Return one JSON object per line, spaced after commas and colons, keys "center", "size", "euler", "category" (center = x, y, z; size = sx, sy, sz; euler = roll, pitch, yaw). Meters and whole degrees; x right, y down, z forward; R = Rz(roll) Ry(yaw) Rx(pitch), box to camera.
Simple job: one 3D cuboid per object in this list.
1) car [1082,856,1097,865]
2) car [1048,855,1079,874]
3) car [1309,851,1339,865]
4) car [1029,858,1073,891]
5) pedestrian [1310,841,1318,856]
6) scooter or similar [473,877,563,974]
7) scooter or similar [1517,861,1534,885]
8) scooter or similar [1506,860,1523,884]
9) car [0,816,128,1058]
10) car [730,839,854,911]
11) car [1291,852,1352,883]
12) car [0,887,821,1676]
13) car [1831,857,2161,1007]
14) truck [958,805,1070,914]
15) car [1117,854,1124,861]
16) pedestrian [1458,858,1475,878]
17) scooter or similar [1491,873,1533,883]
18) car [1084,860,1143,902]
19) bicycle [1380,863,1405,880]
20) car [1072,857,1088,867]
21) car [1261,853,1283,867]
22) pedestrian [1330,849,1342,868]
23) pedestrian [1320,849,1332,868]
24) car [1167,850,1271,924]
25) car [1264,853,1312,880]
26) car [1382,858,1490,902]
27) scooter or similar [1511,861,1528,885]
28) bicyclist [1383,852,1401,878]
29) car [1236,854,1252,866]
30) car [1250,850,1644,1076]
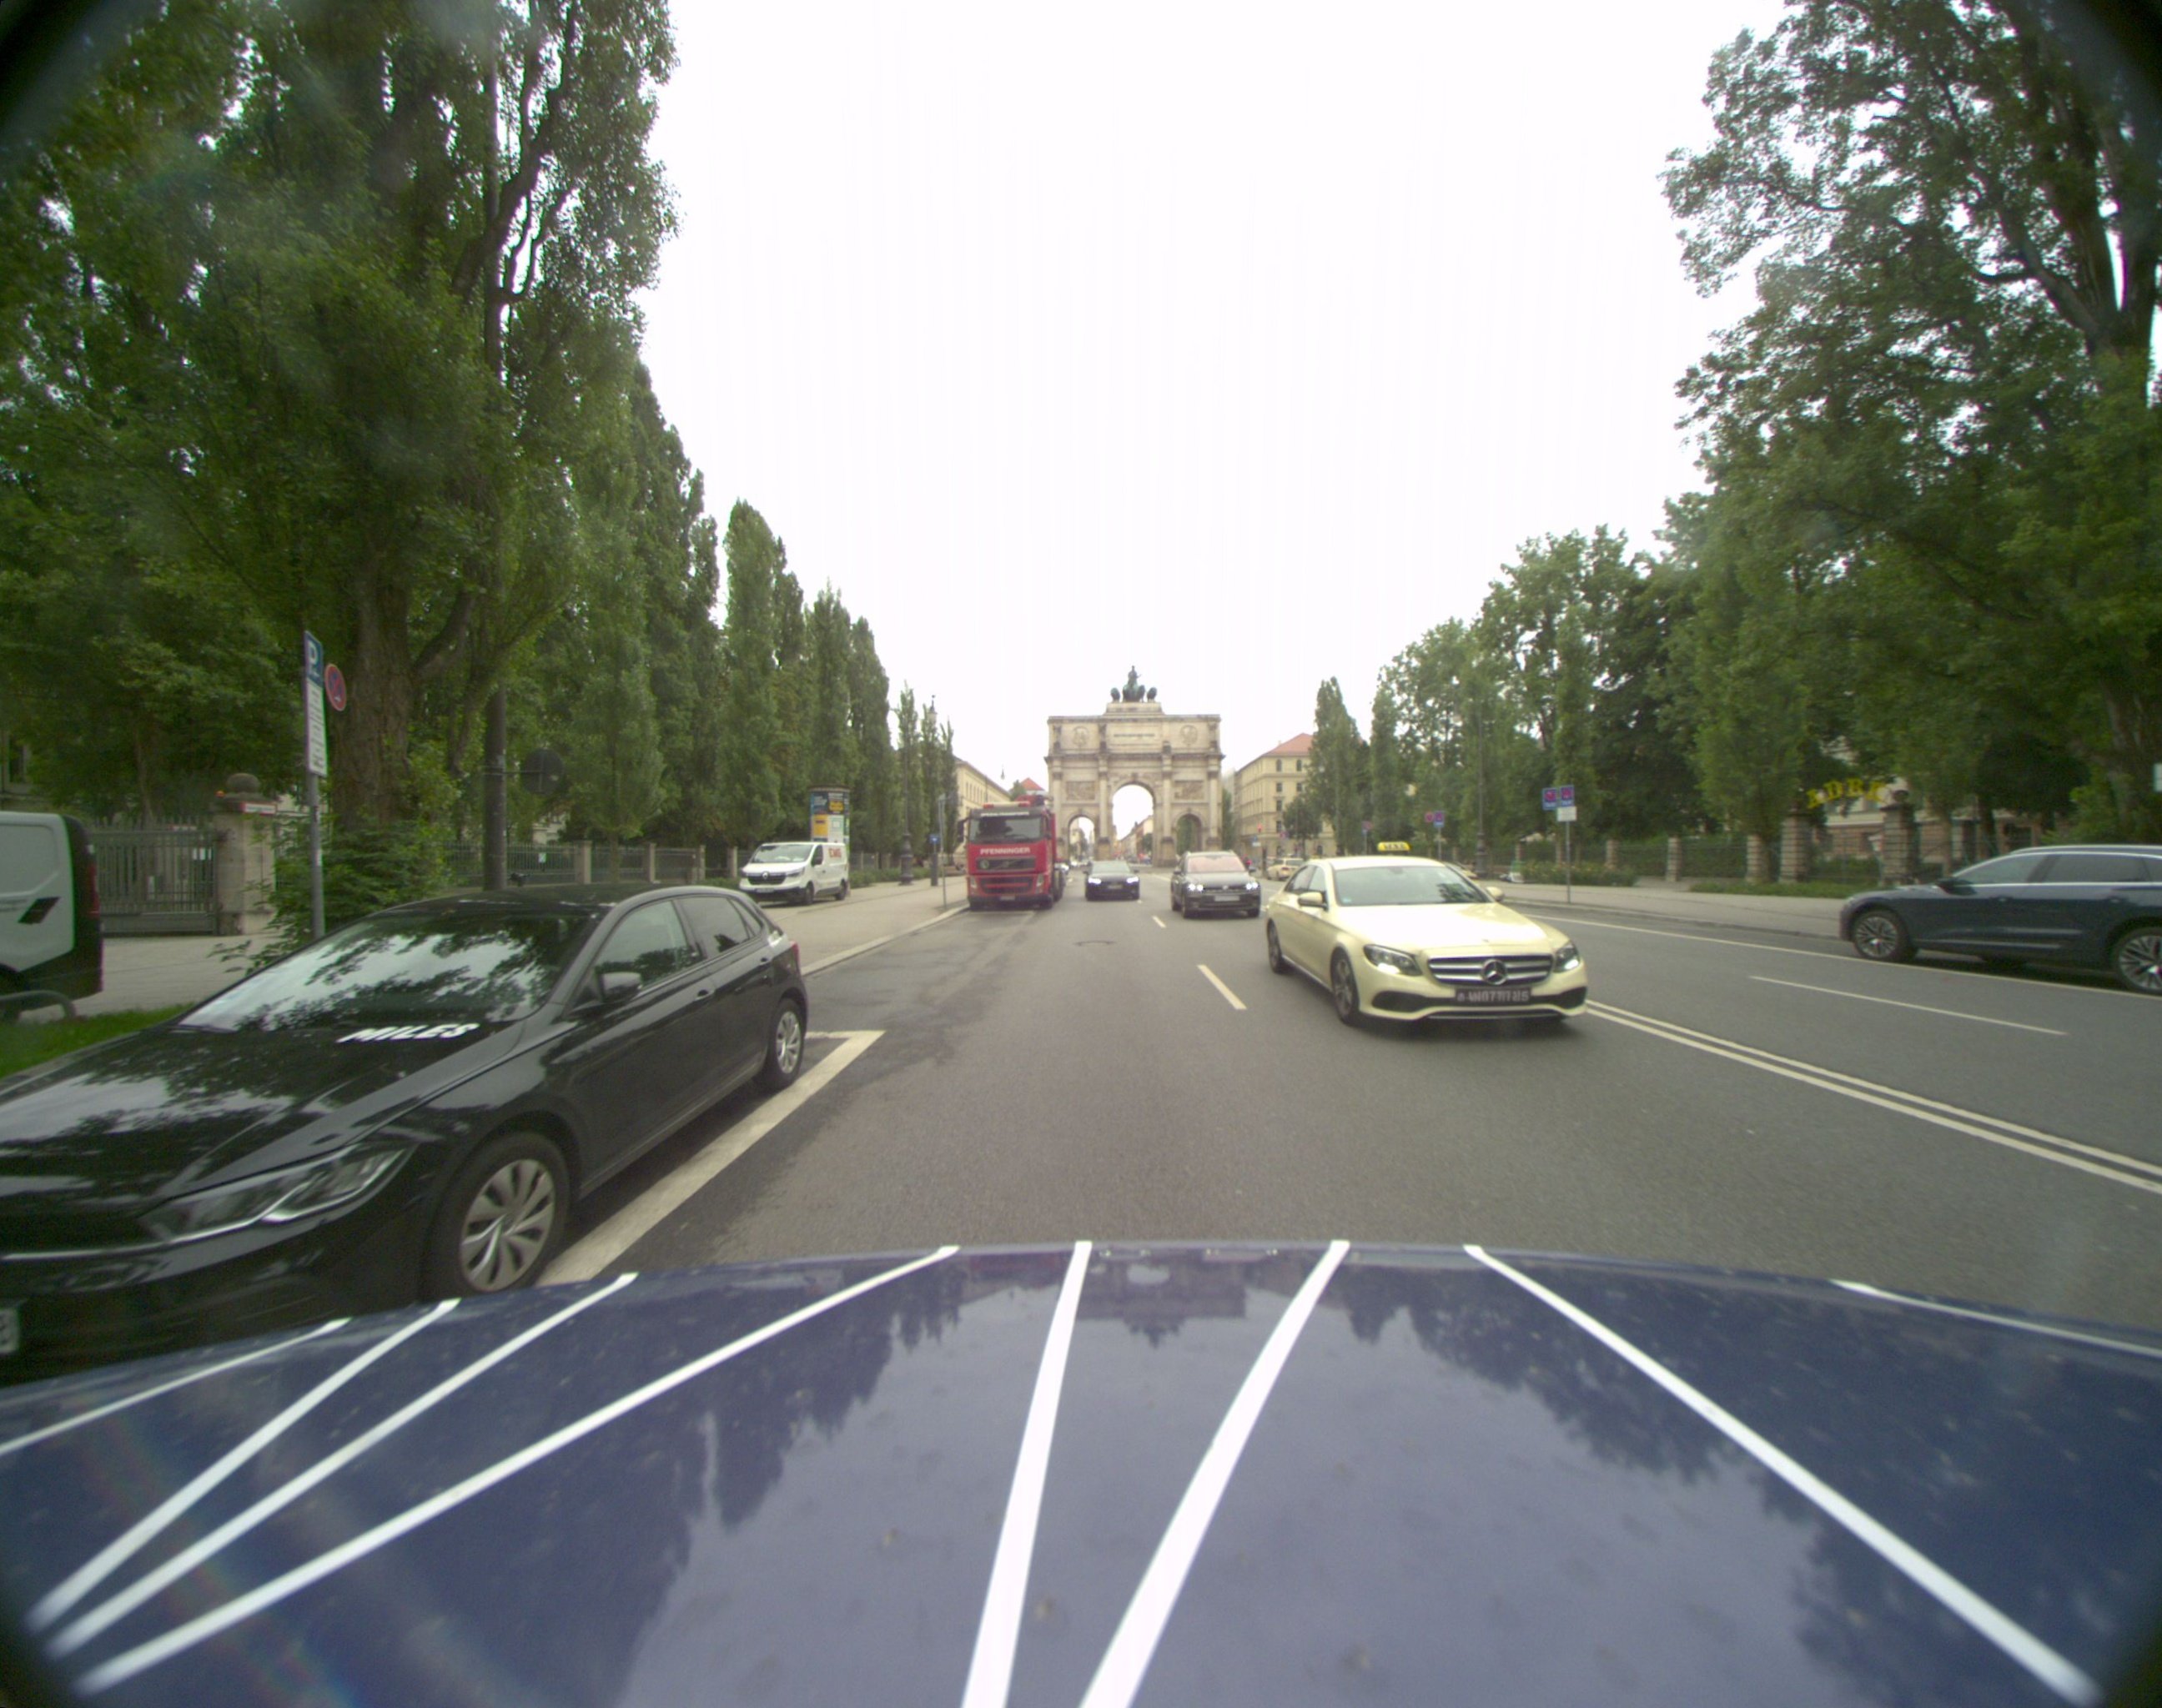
{"center": [1.659, 1.252, 147.705], "size": [1.785, 1.739, 4.326], "euler": [0, 0, 18], "category": "car"}
{"center": [-1.846, 1.063, 78.173], "size": [1.893, 1.846, 4.305], "euler": [-1, 0, -21], "category": "car"}
{"center": [37.619, 0.611, 117.696], "size": [3.997, 2.002, 2.000], "euler": [0, 0, 1], "category": "car"}
{"center": [-1.371, 0.926, 36.061], "size": [1.792, 1.451, 4.218], "euler": [-1, 0, 1], "category": "car"}
{"center": [32.505, -0.746, 105.982], "size": [0.796, 2.002, 0.754], "euler": [-1, 0, -33], "category": "pedestrian"}
{"center": [-7.868, 0.967, 10.668], "size": [0.337, 1.258, 1.186], "euler": [0, 0, 2], "category": "scooter or similar"}
{"center": [22.795, 0.953, 39.012], "size": [0.243, 1.194, 1.122], "euler": [0, 0, 2], "category": "scooter or similar"}
{"center": [22.259, 0.912, 39.033], "size": [0.258, 1.234, 1.141], "euler": [0, 0, 3], "category": "scooter or similar"}
{"center": [-9.697, 0.679, 4.331], "size": [1.998, 1.935, 5.083], "euler": [-1, 0, 2], "category": "car"}
{"center": [-8.779, 0.588, 23.610], "size": [1.885, 1.933, 4.885], "euler": [-2, 0, 0], "category": "car"}
{"center": [13.410, 0.697, 42.725], "size": [1.942, 1.615, 4.965], "euler": [0, 1, 1], "category": "car"}
{"center": [-2.856, 1.003, 3.561], "size": [1.758, 1.441, 4.000], "euler": [-3, 0, 1], "category": "car"}
{"center": [12.377, 0.856, 9.335], "size": [1.786, 1.586, 4.614], "euler": [1, 0, 1], "category": "car"}
{"center": [-1.975, 0.174, 26.917], "size": [2.720, 3.092, 10.427], "euler": [0, 0, 2], "category": "truck"}
{"center": [12.015, 0.994, 233.812], "size": [1.998, 2.002, 4.395], "euler": [-1, 0, 1], "category": "car"}
{"center": [26.129, 0.942, 51.485], "size": [0.578, 1.329, 0.838], "euler": [0, 0, -25], "category": "pedestrian"}
{"center": [24.291, 1.324, 42.781], "size": [2.241, 0.515, 1.329], "euler": [0, 0, -39], "category": "scooter or similar"}
{"center": [1.108, 0.931, 27.982], "size": [1.922, 1.320, 4.411], "euler": [-2, 0, 0], "category": "car"}
{"center": [17.846, 1.013, 43.591], "size": [0.709, 0.933, 1.735], "euler": [-1, 0, 0], "category": "bicycle"}
{"center": [-0.196, 1.533, 142.265], "size": [1.785, 1.739, 4.326], "euler": [0, 0, 18], "category": "car"}
{"center": [26.897, 0.798, 107.207], "size": [2.003, 1.844, 4.991], "euler": [1, 1, 3], "category": "car"}
{"center": [23.261, 0.409, 69.295], "size": [0.846, 1.668, 0.967], "euler": [0, 0, 8], "category": "pedestrian"}
{"center": [22.441, 0.426, 69.671], "size": [0.846, 1.668, 0.967], "euler": [0, 0, 8], "category": "pedestrian"}
{"center": [3.427, 0.751, 19.700], "size": [1.953, 1.615, 4.411], "euler": [-2, 0, 2], "category": "car"}
{"center": [13.416, 0.771, 49.514], "size": [1.823, 1.550, 4.859], "euler": [1, 0, 1], "category": "car"}
{"center": [12.982, 0.915, 28.163], "size": [1.935, 1.488, 4.791], "euler": [0, -1, 2], "category": "car"}
{"center": [22.531, 0.959, 39.023], "size": [0.243, 1.194, 1.122], "euler": [0, 0, 2], "category": "scooter or similar"}
{"center": [17.844, 0.612, 43.641], "size": [0.695, 1.489, 0.861], "euler": [0, 0, 0], "category": "bicyclist"}
{"center": [22.825, 0.829, 106.795], "size": [1.785, 1.662, 4.002], "euler": [0, 0, 6], "category": "car"}
{"center": [3.169, 0.789, 7.851], "size": [1.919, 1.566, 4.689], "euler": [-2, 0, 2], "category": "car"}
